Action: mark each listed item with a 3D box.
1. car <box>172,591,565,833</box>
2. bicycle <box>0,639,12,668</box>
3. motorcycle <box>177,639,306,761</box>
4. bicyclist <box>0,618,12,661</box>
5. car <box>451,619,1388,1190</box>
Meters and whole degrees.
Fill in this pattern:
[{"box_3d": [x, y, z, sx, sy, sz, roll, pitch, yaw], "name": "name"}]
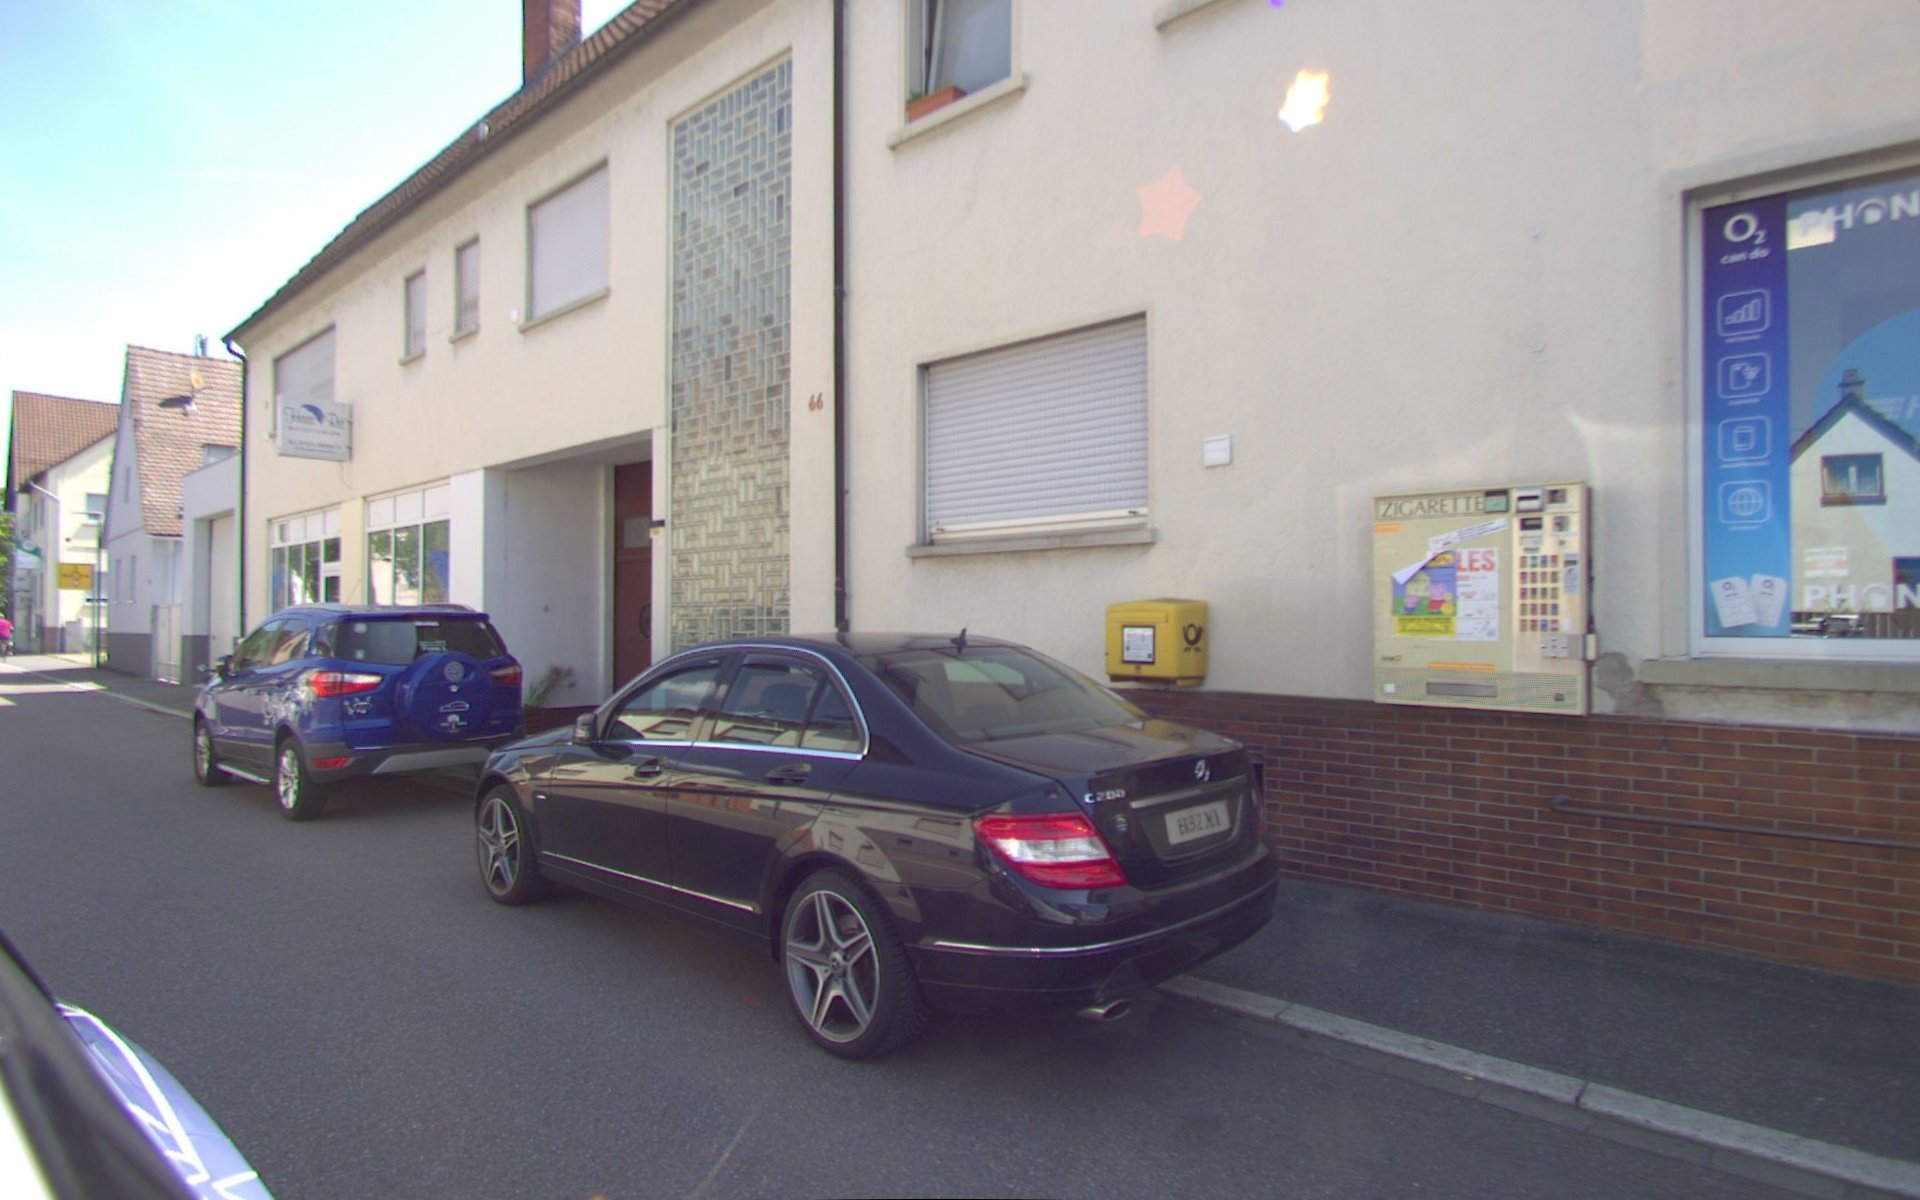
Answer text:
[{"box_3d": [-5.362, 0.844, 8.952, 4.146, 1.652, 1.699, -2, -4, 41], "name": "car"}, {"box_3d": [-37.088, 2.058, 39.006, 0.734, 1.055, 1.941, 0, -1, -45], "name": "bicycle"}, {"box_3d": [-8.668, 1.146, 12.178, 2.105, 1.322, 0.799, -2, -2, 42], "name": "motorcycle"}, {"box_3d": [-37.074, 1.529, 38.996, 0.738, 1.649, 0.957, 0, -2, -45], "name": "bicyclist"}, {"box_3d": [-0.582, 0.815, 4.650, 4.389, 1.422, 1.679, -2, -2, 42], "name": "car"}]
